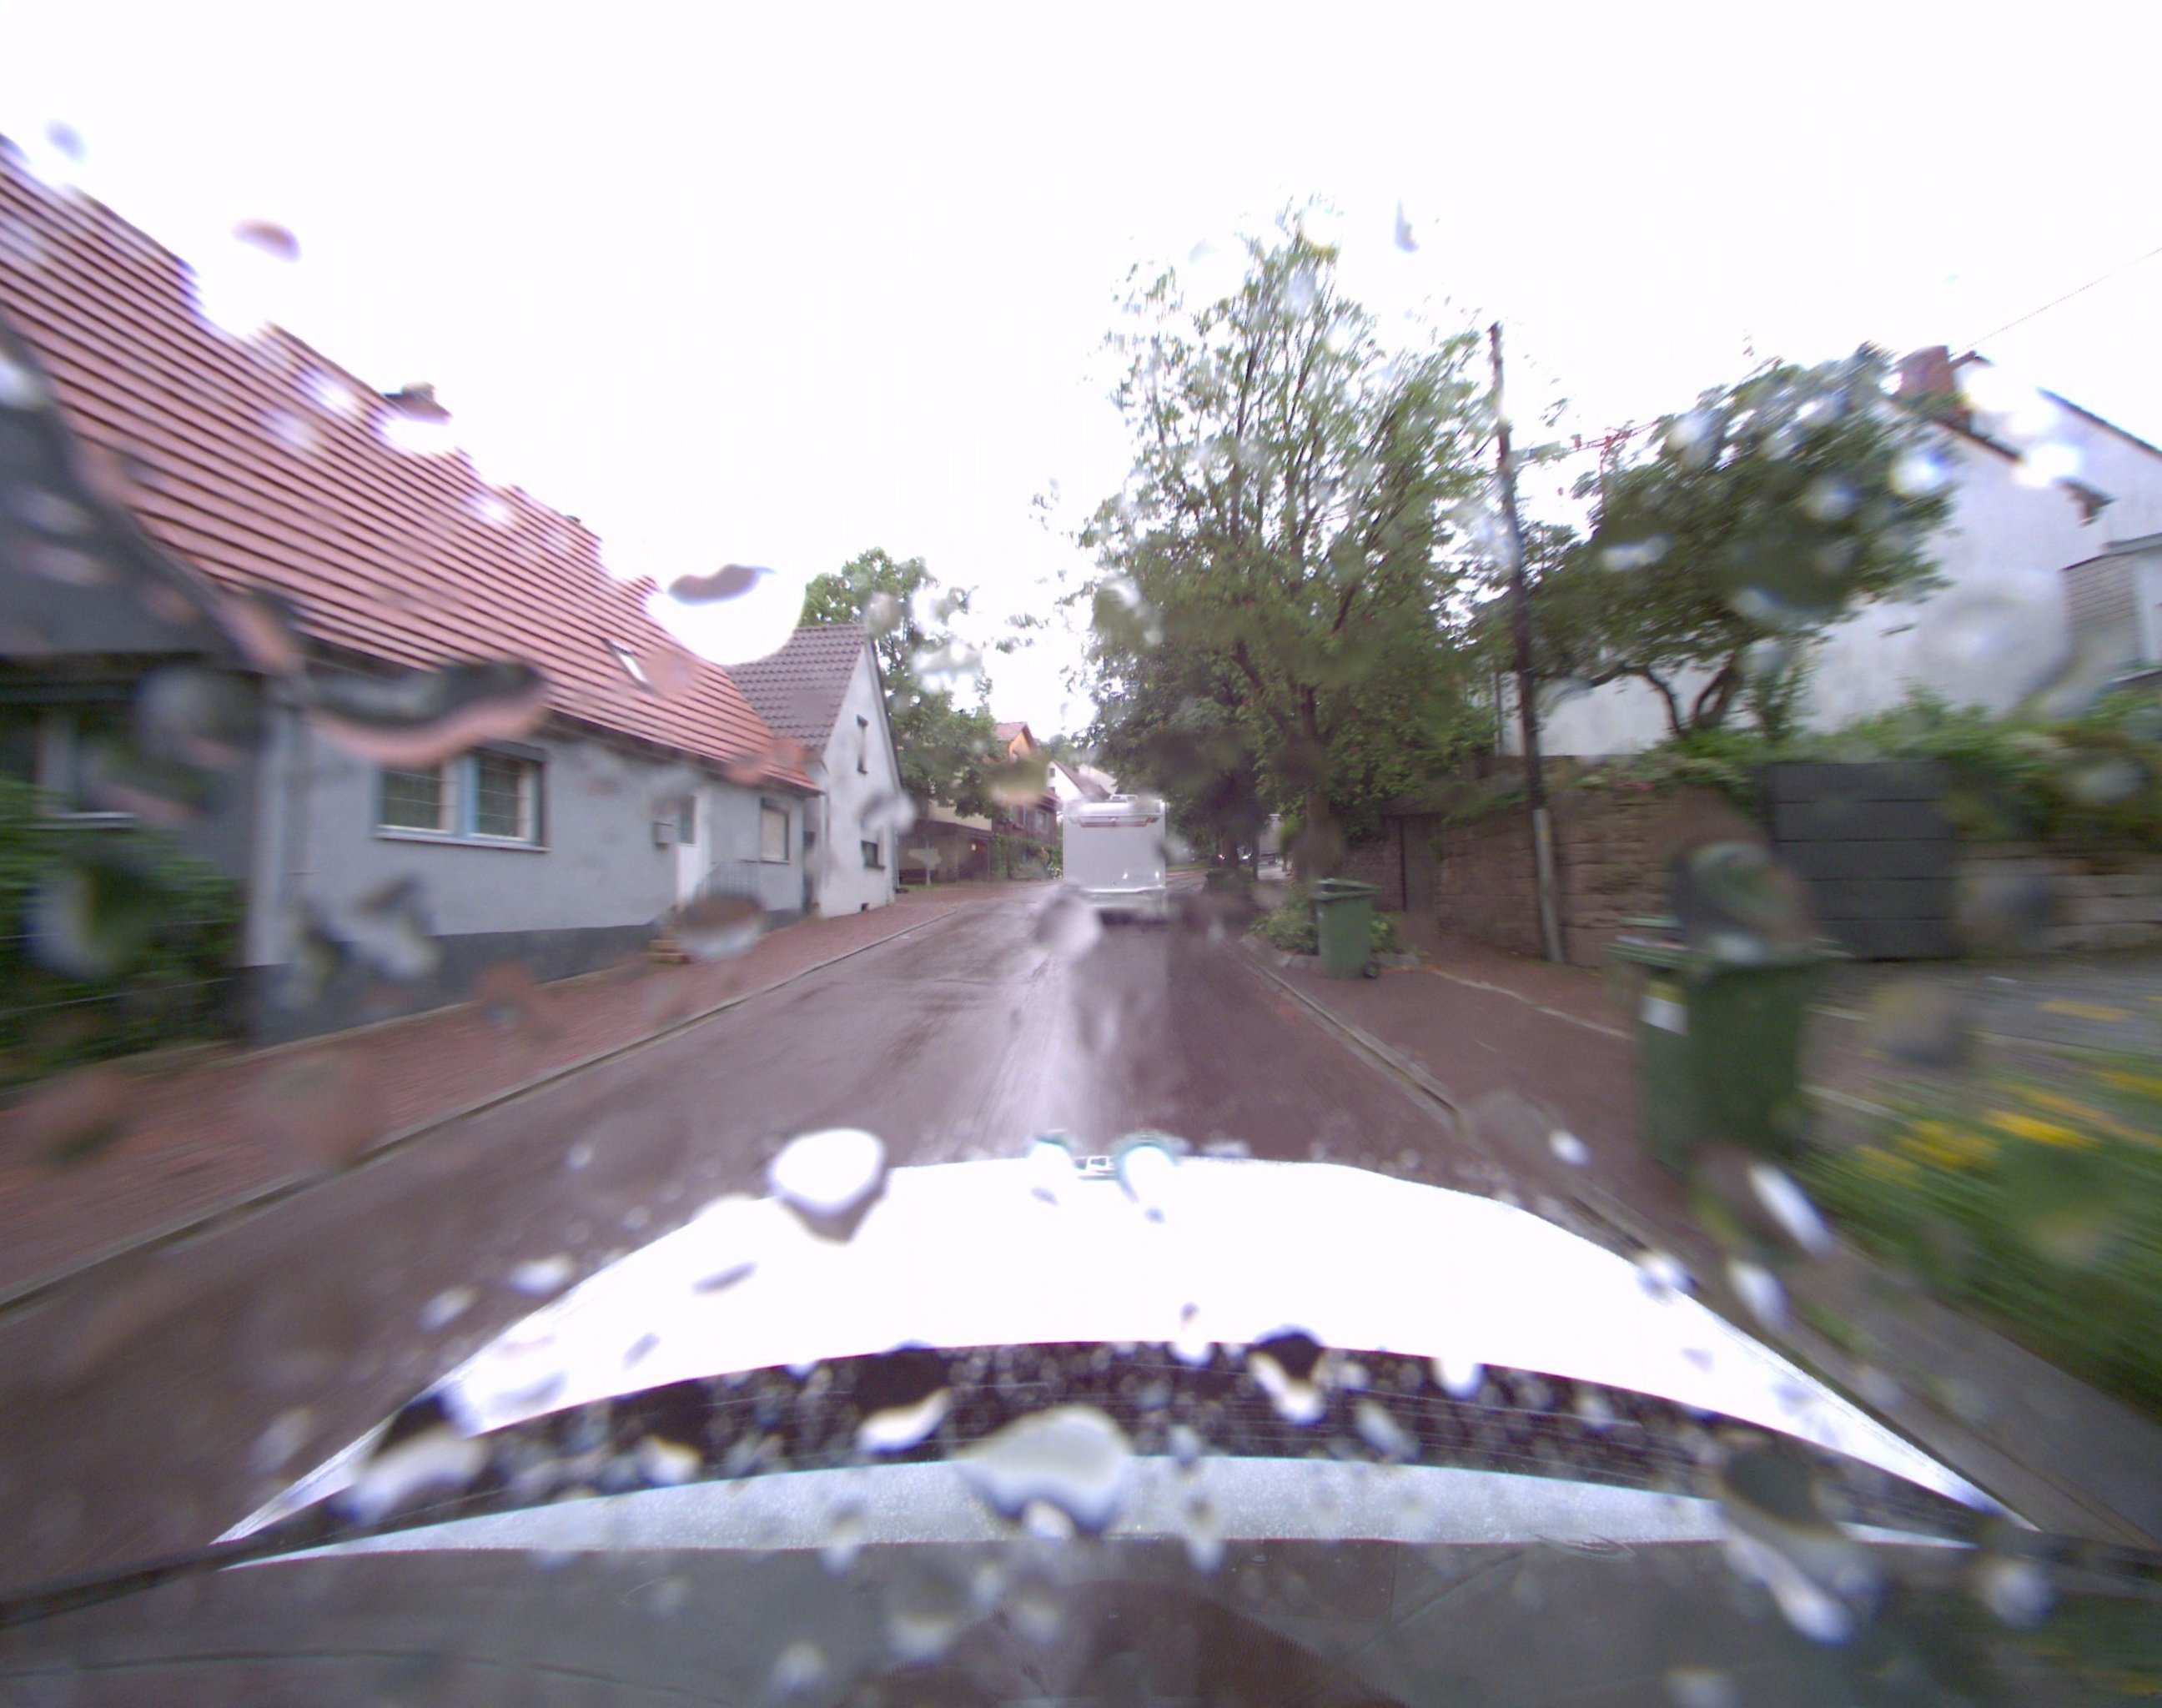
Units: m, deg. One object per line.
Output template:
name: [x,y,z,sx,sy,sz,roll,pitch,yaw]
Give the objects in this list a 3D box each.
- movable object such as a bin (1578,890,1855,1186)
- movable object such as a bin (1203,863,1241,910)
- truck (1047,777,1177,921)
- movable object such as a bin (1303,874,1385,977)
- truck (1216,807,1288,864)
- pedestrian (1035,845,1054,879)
movable object such as a bin: [2.904,0.793,3.803,0.718,1.212,0.727,-1,0,2]
movable object such as a bin: [3.501,0.800,20.223,0.766,1.107,0.885,-3,0,2]
truck: [0.852,-0.065,20.234,2.683,2.986,6.242,-1,-1,4]
movable object such as a bin: [3.091,0.819,9.626,0.721,1.143,0.703,-1,0,-1]
truck: [13.844,-1.395,65.255,2.811,4.166,10.038,-1,0,29]
pedestrian: [-1.983,0.434,44.523,0.788,1.868,0.920,-1,-1,15]
